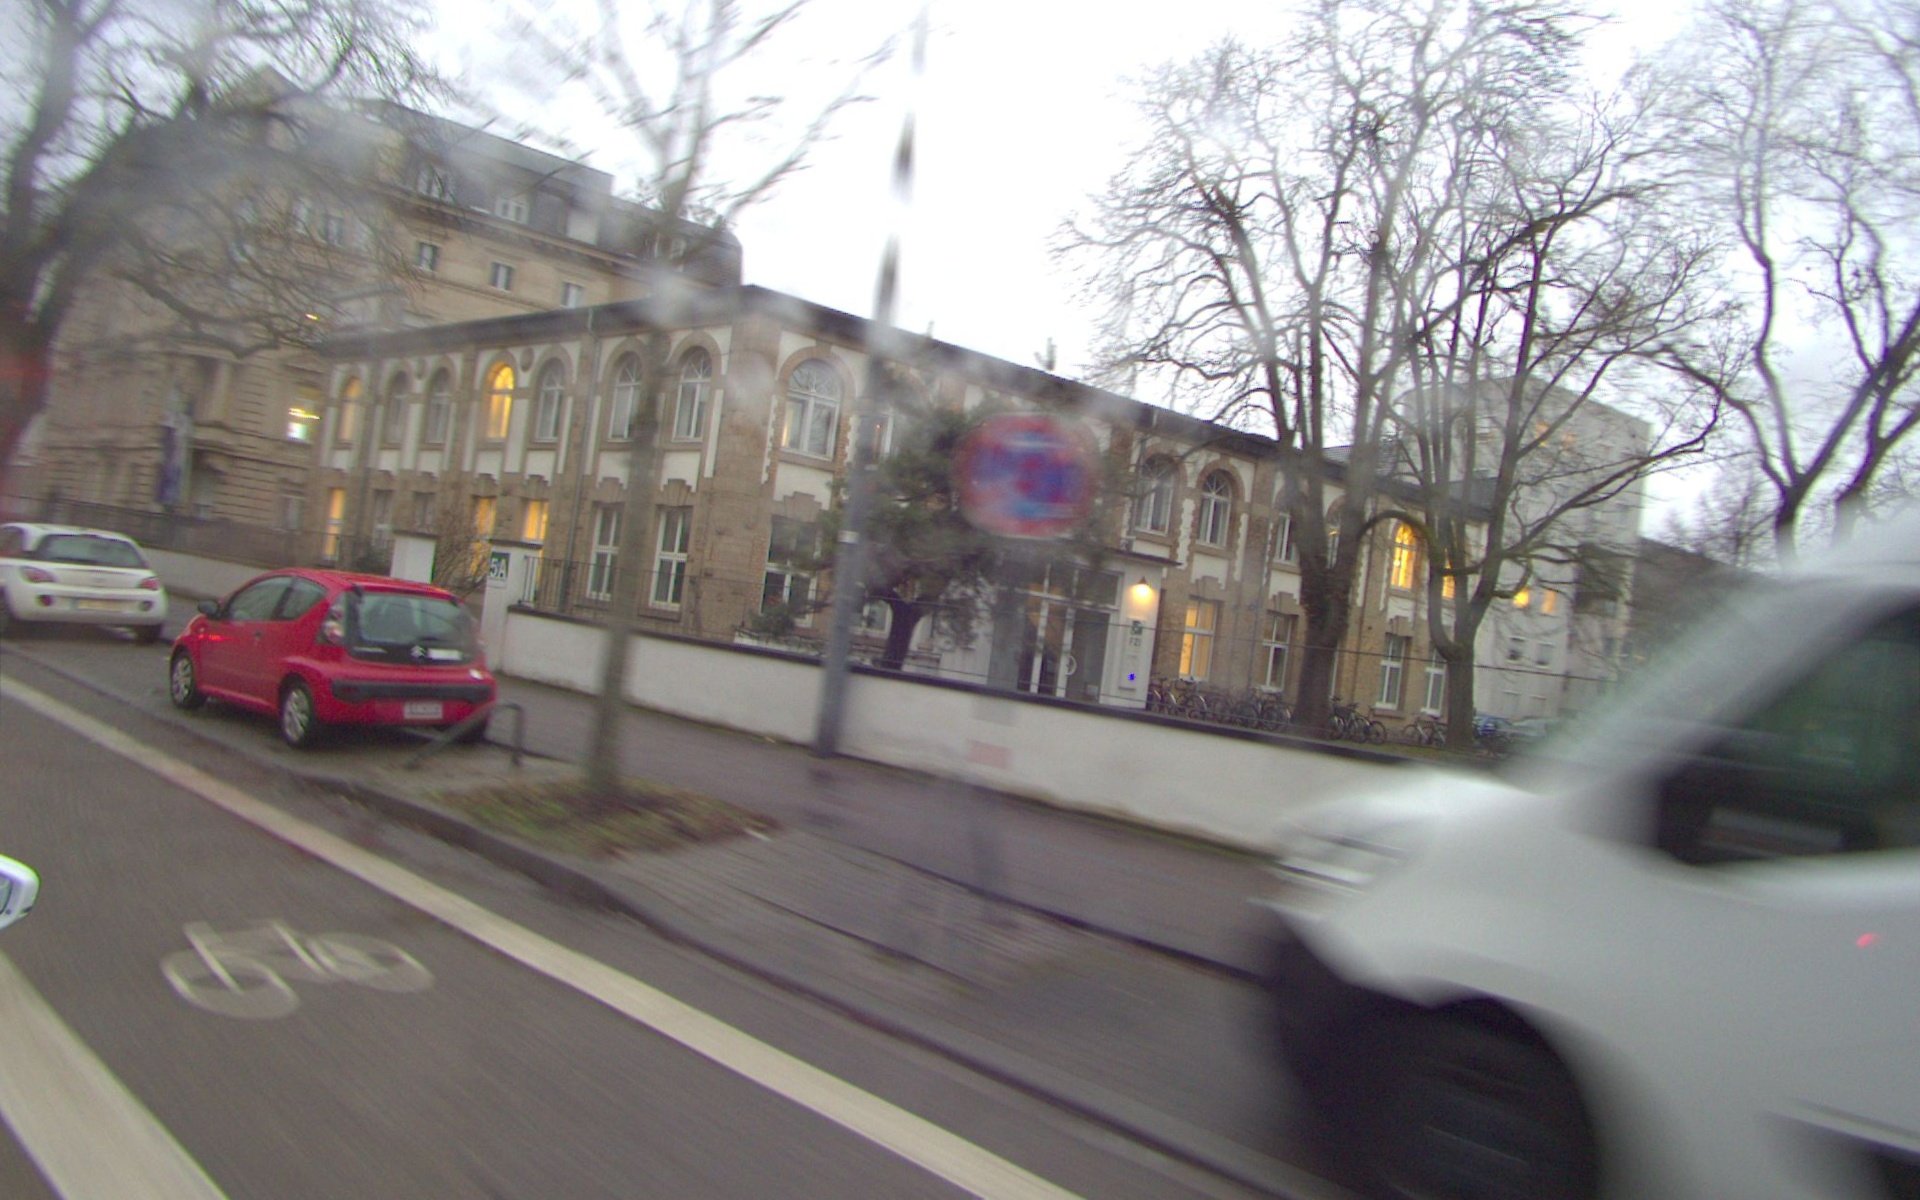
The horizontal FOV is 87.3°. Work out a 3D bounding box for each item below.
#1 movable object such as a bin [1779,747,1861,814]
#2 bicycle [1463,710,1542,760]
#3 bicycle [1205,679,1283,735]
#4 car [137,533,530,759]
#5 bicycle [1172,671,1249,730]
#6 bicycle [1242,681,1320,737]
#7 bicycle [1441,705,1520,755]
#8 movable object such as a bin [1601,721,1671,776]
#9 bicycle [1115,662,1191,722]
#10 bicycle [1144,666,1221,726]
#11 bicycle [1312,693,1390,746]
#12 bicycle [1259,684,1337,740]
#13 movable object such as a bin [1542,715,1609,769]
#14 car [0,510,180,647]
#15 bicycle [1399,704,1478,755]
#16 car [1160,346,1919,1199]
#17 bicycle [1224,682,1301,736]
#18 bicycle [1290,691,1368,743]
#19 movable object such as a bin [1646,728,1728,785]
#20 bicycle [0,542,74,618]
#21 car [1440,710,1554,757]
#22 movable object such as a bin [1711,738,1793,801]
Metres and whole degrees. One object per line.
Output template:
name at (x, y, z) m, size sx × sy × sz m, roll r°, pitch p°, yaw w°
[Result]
movable object such as a bin at (21.058, 4.405, 24.624) m, size 1.057 × 1.333 × 1.307 m, roll 8°, pitch 1°, yaw -44°
bicycle at (16.667, 4.125, 30.980) m, size 0.566 × 1.170 × 2.129 m, roll 8°, pitch -1°, yaw -24°
bicycle at (7.360, 2.759, 26.185) m, size 0.566 × 1.063 × 2.128 m, roll 8°, pitch 0°, yaw -24°
car at (-5.974, 0.390, 9.520) m, size 3.513 × 1.540 × 1.646 m, roll 7°, pitch -2°, yaw 32°
bicycle at (6.308, 2.523, 25.440) m, size 0.566 × 1.170 × 2.129 m, roll 8°, pitch -1°, yaw -24°
bicycle at (8.512, 2.885, 26.760) m, size 0.566 × 1.170 × 2.129 m, roll 8°, pitch -1°, yaw -24°
bicycle at (15.792, 3.939, 30.602) m, size 0.566 × 1.170 × 2.129 m, roll 8°, pitch -1°, yaw -24°
movable object such as a bin at (19.120, 4.197, 28.462) m, size 0.978 × 1.295 × 1.241 m, roll 8°, pitch -1°, yaw -32°
bicycle at (4.715, 2.242, 24.710) m, size 0.566 × 1.170 × 2.129 m, roll 8°, pitch -1°, yaw -24°
bicycle at (5.499, 2.363, 25.030) m, size 0.566 × 1.170 × 2.129 m, roll 8°, pitch -1°, yaw -24°
bicycle at (10.884, 3.317, 28.079) m, size 0.566 × 1.123 × 2.129 m, roll 8°, pitch -1°, yaw -24°
bicycle at (9.050, 2.989, 27.039) m, size 0.566 × 1.170 × 2.129 m, roll 8°, pitch -1°, yaw -24°
movable object such as a bin at (18.037, 4.165, 29.504) m, size 0.978 × 1.329 × 1.253 m, roll 8°, pitch -1°, yaw -32°
car at (-12.871, -0.380, 14.266) m, size 3.579 × 1.537 × 1.694 m, roll 7°, pitch -1°, yaw 34°
bicycle at (14.131, 3.815, 29.797) m, size 0.566 × 1.170 × 2.129 m, roll 8°, pitch -1°, yaw -24°
car at (3.609, 0.873, 2.725) m, size 5.349 × 2.515 × 2.129 m, roll 7°, pitch -2°, yaw 32°
bicycle at (7.925, 2.855, 26.482) m, size 0.566 × 1.029 × 2.128 m, roll 8°, pitch 1°, yaw -24°
bicycle at (10.102, 3.189, 27.645) m, size 0.566 × 1.105 × 2.129 m, roll 8°, pitch -1°, yaw -24°
movable object such as a bin at (19.638, 4.219, 27.180) m, size 0.978 × 1.239 × 1.426 m, roll 8°, pitch -1°, yaw -32°
bicycle at (-15.175, -0.372, 15.786) m, size 0.653 × 1.083 × 1.715 m, roll 7°, pitch -1°, yaw 35°
car at (22.125, 5.488, 41.434) m, size 3.947 × 1.296 × 1.990 m, roll 9°, pitch -1°, yaw -22°
movable object such as a bin at (20.328, 4.339, 25.835) m, size 0.978 × 1.329 × 1.297 m, roll 8°, pitch -1°, yaw -32°
